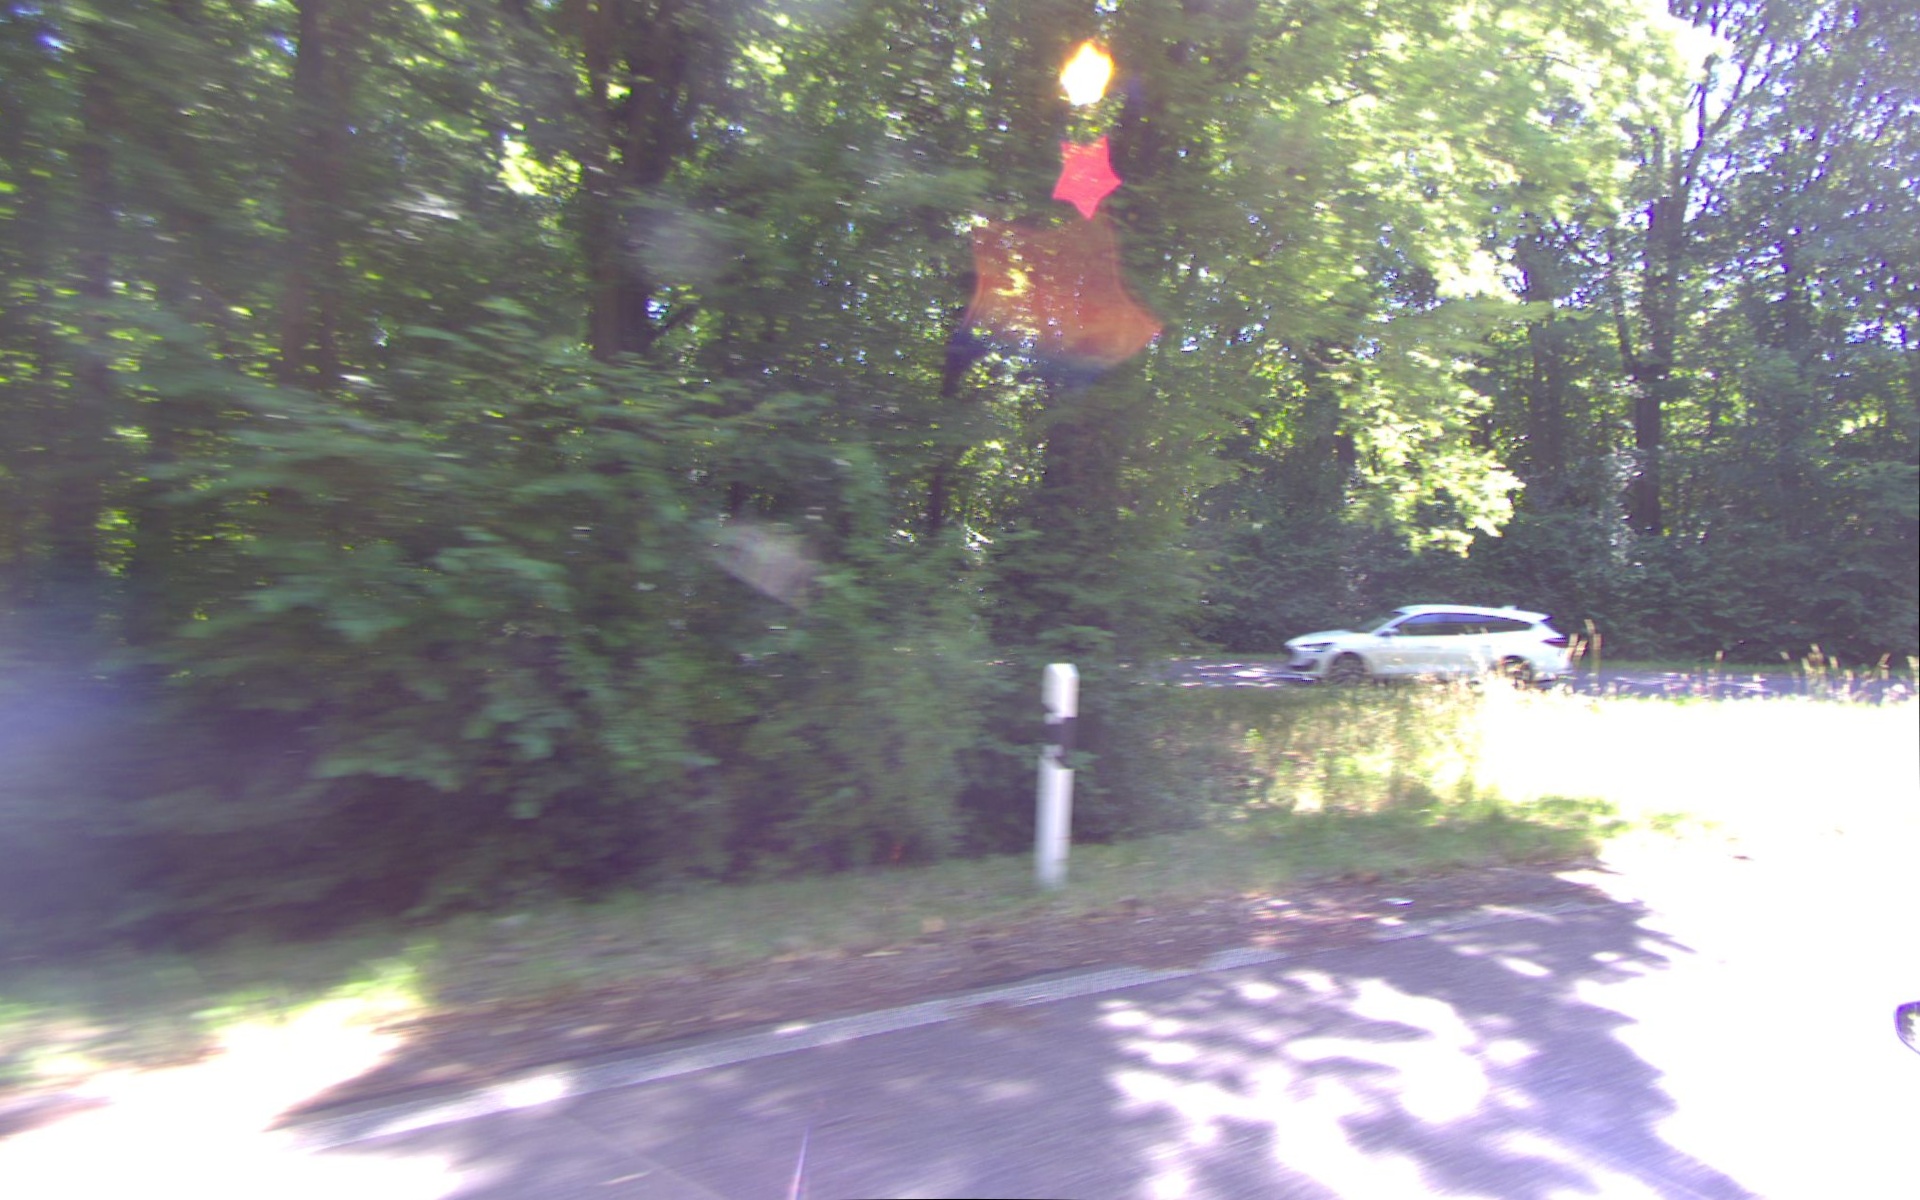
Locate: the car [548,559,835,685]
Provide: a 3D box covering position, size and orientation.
[{"bbox_3d":[-5.445,0.369,20.574,5.316,2.378,2.069,0,2,14],"label":"car"}]

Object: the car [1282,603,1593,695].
[{"bbox_3d":[8.393,0.825,18.106,4.771,1.472,1.762,0,2,12],"label":"car"}]
